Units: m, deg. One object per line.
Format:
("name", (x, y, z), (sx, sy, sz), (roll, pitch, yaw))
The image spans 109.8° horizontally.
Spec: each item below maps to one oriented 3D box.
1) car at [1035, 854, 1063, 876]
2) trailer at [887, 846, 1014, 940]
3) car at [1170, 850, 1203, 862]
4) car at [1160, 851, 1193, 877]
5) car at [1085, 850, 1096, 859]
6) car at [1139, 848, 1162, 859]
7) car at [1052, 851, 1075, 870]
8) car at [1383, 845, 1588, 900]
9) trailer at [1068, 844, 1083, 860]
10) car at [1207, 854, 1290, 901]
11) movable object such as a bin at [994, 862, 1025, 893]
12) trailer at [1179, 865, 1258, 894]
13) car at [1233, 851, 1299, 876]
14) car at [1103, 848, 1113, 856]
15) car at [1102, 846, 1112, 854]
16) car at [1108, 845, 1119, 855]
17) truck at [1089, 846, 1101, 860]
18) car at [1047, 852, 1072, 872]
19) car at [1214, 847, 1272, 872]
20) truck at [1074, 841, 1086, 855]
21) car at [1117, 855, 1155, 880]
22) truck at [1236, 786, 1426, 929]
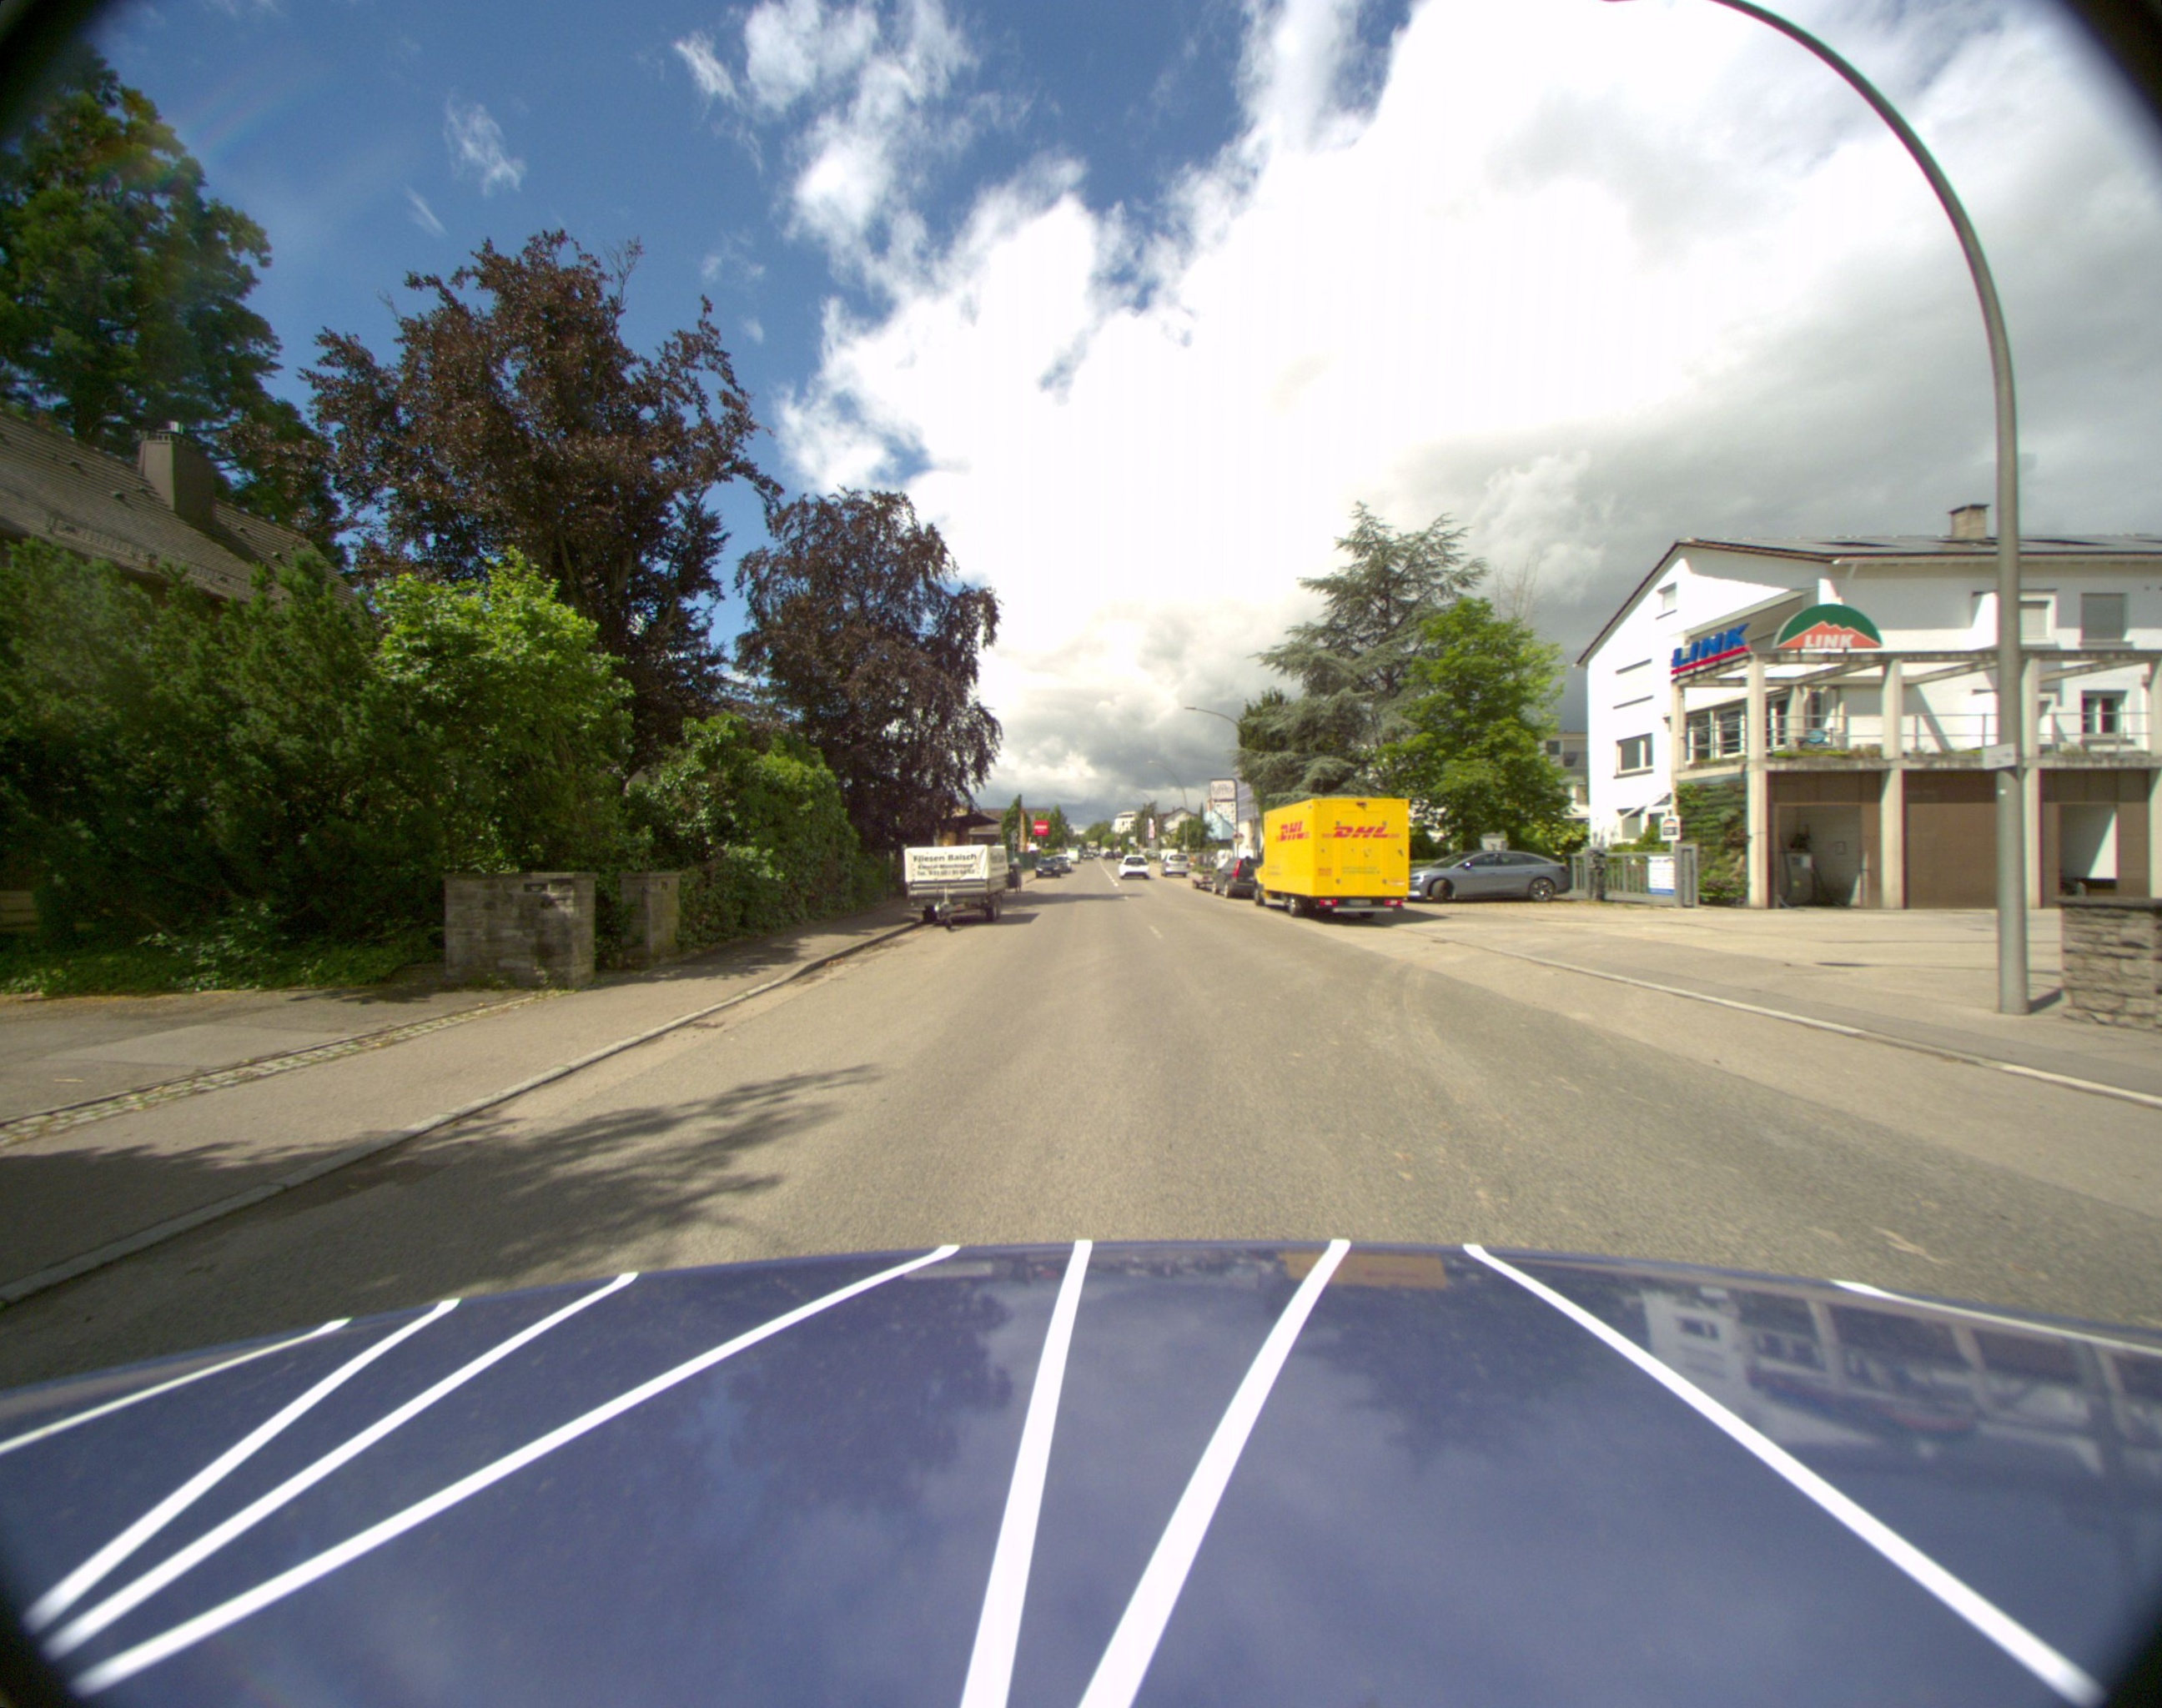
("car", (-2.211, 0.769, 53.925), (1.759, 1.455, 4.000), (-1, 0, 1))
("trailer", (-2.844, 0.774, 17.703), (1.998, 1.812, 4.764), (-2, 0, 1))
("car", (13.707, 0.299, 98.607), (4.046, 1.485, 1.675), (0, 1, 0))
("car", (6.520, 0.664, 52.136), (1.809, 1.666, 4.127), (2, 0, 1))
("car", (1.868, 0.089, 143.662), (1.998, 1.802, 4.000), (-1, 0, 1))
("car", (12.349, -0.071, 134.882), (3.995, 2.002, 2.001), (0, 1, 6))
("car", (-1.587, 0.605, 70.548), (1.835, 1.608, 4.000), (-3, 0, 2))
("car", (11.854, 0.508, 22.514), (5.021, 1.543, 1.972), (0, 1, -1))
("trailer", (-0.808, -0.285, 112.261), (2.044, 2.214, 5.079), (0, 0, 2))
("car", (6.042, 0.799, 27.979), (1.998, 1.445, 4.812), (3, 0, 1))
("movable object such as a bin", (-3.091, 1.005, 33.072), (1.115, 1.283, 1.357), (0, 1, 5))
("trailer", (6.017, 1.092, 34.300), (2.324, 0.985, 7.458), (1, 0, 1))
("car", (12.673, 0.619, 52.212), (3.998, 1.660, 2.103), (0, 1, -2))
("car", (5.771, -0.436, 160.835), (1.999, 1.853, 3.835), (0, 0, -1))
("car", (6.399, -0.927, 187.645), (2.384, 2.002, 6.383), (0, 0, -1))
("car", (5.981, -0.696, 139.331), (1.859, 1.686, 4.001), (-1, 0, 4))
("truck", (3.509, -0.300, 195.602), (2.880, 3.290, 8.606), (-2, 1, 1))
("car", (-1.820, 0.677, 65.760), (1.811, 1.566, 4.188), (-3, 1, 1))
("car", (12.300, 0.425, 57.703), (3.996, 1.866, 2.000), (0, 1, 1))
("truck", (-0.179, -1.330, 163.874), (2.410, 2.722, 6.640), (-2, 1, 1))
("car", (3.339, 0.810, 47.136), (1.987, 1.412, 3.999), (0, 0, -1))
("truck", (6.173, 0.058, 20.262), (2.329, 2.986, 7.817), (2, 0, 0))
